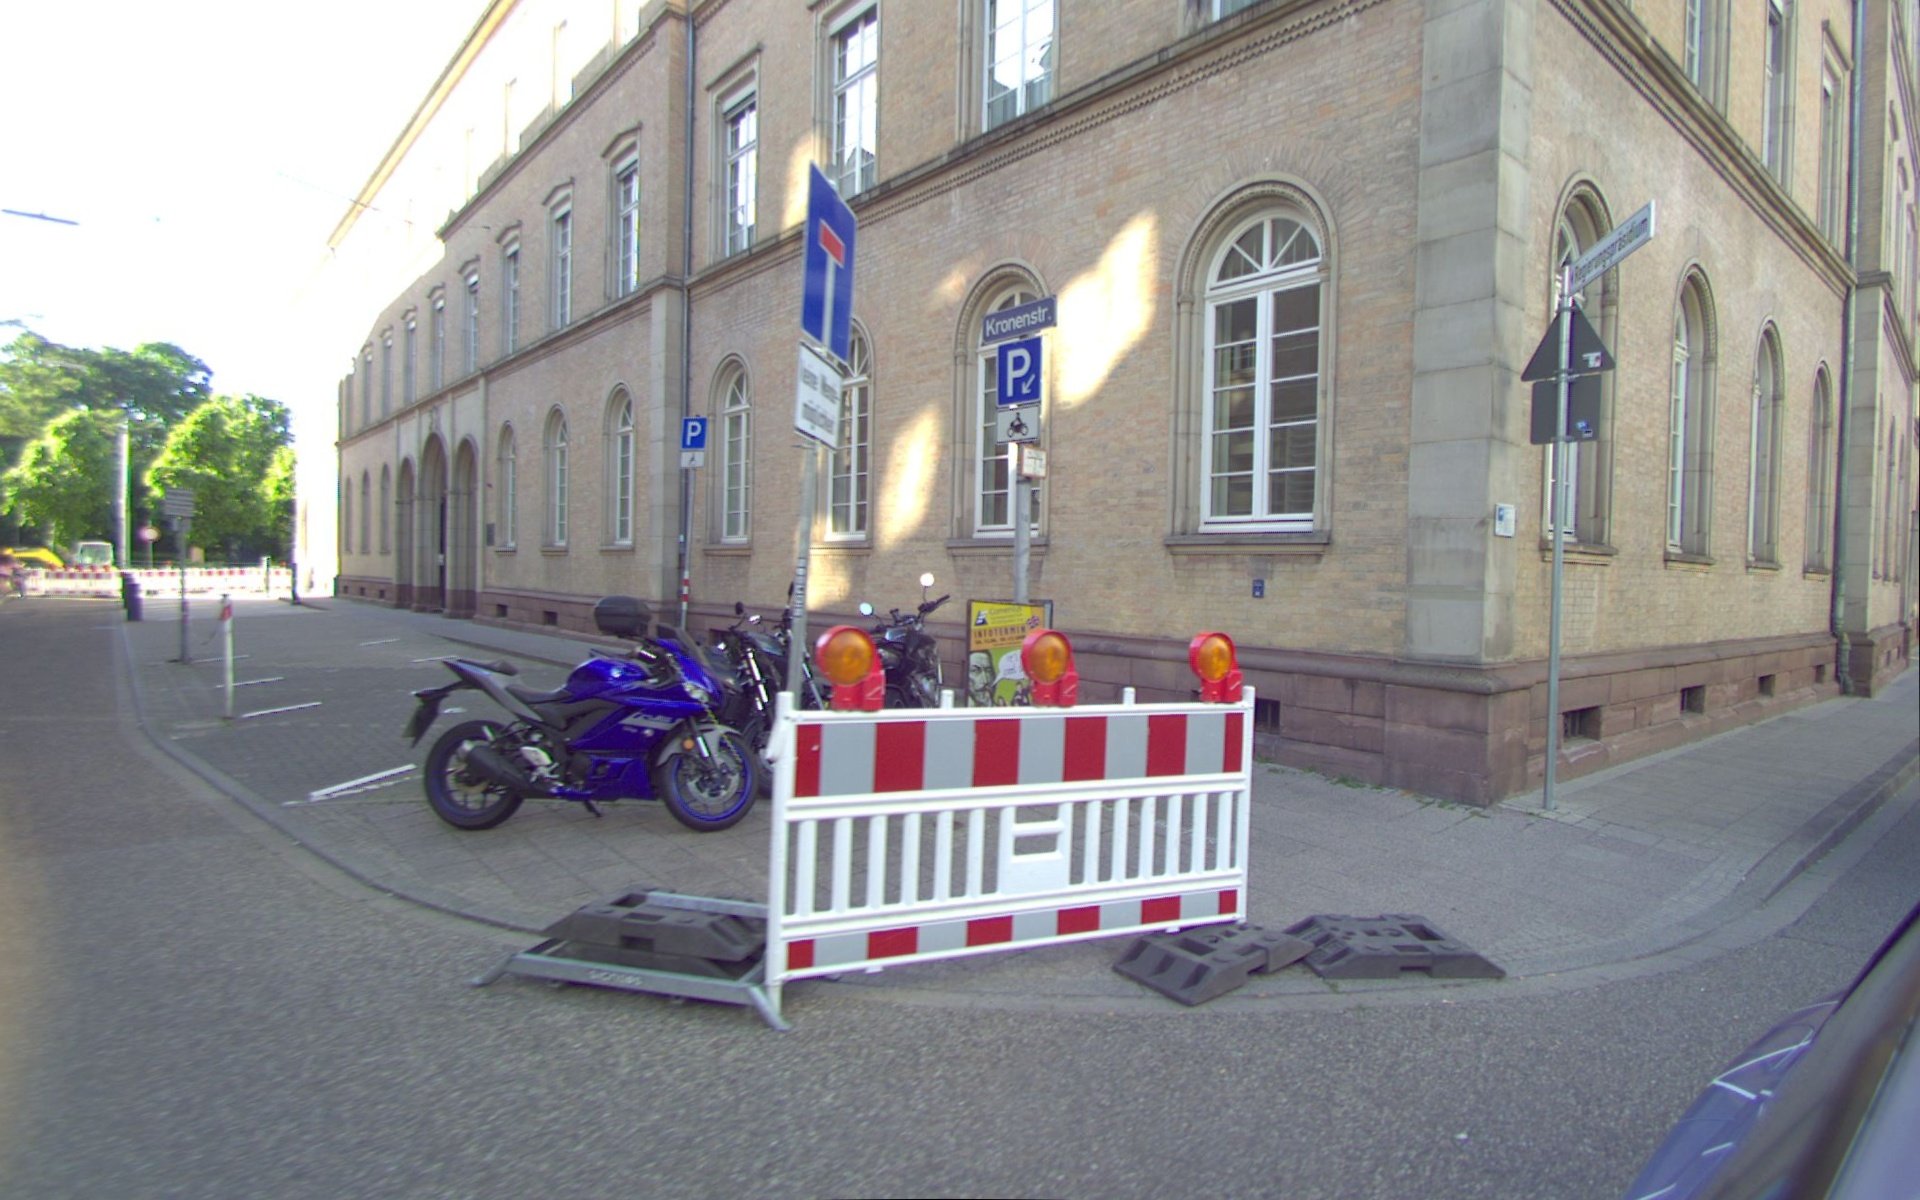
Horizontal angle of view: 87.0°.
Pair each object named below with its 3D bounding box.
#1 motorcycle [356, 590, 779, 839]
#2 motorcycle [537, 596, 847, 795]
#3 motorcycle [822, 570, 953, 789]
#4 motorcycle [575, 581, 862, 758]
[{"bbox_3d":[-2.192,0.604,5.865,2.111,1.239,0.875,1,4,4],"label":"motorcycle"},{"bbox_3d":[-1.816,0.617,7.044,1.919,1.240,0.828,1,1,4],"label":"motorcycle"},{"bbox_3d":[-0.469,0.473,7.470,0.694,1.349,2.079,1,2,3],"label":"motorcycle"},{"bbox_3d":[-1.910,0.518,8.184,2.106,1.304,0.828,1,1,4],"label":"motorcycle"}]
